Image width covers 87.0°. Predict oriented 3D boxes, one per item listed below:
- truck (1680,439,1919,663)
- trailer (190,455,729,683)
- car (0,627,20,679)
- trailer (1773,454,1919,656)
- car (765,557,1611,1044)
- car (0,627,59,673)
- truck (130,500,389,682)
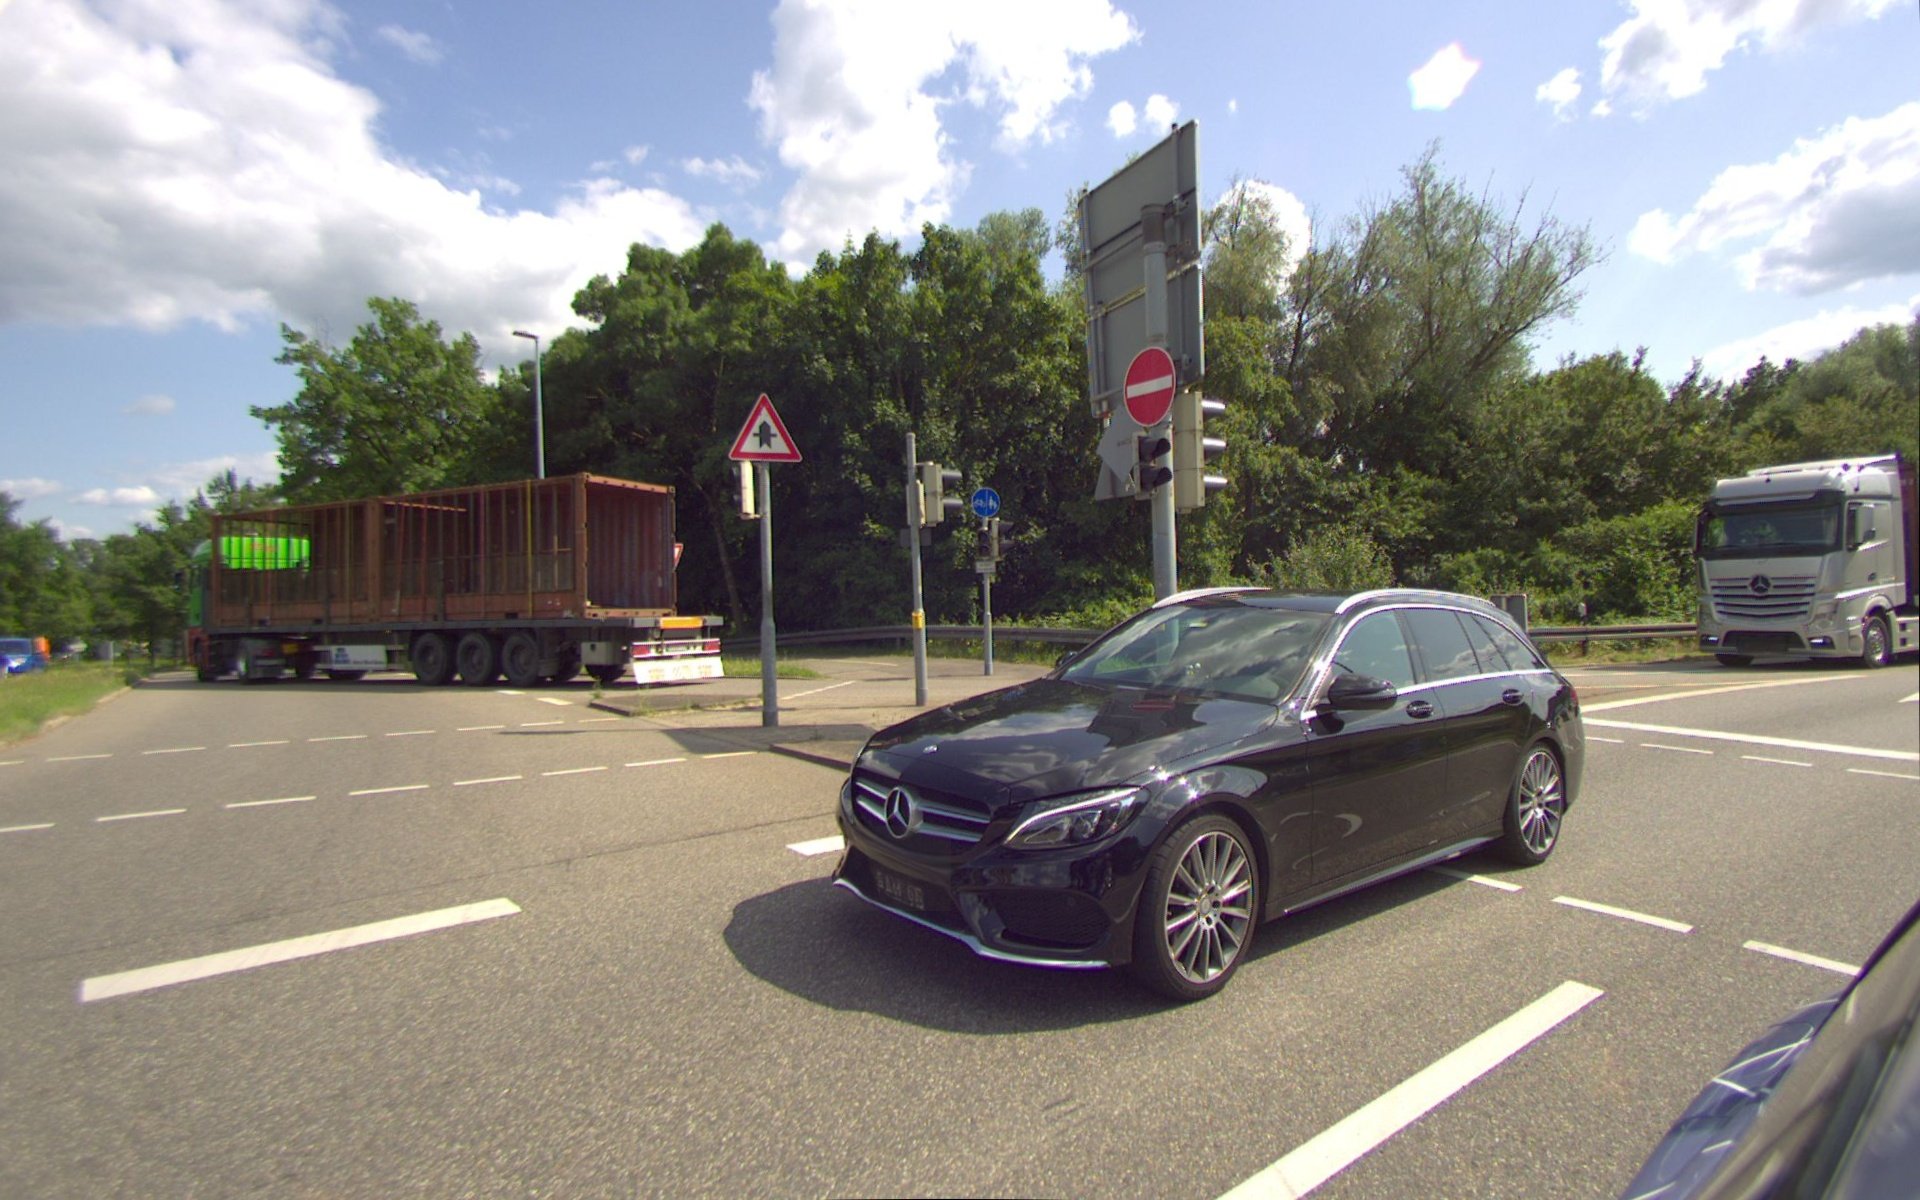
[{"bbox_3d":[17.872,-0.860,20.365,6.682,3.894,2.781,0,-1,-28],"label":"truck"},{"bbox_3d":[-11.231,-0.283,21.670,13.706,3.941,2.623,-2,-2,27],"label":"trailer"},{"bbox_3d":[-26.612,1.439,26.663,1.843,1.393,4.052,0,-1,-31],"label":"car"},{"bbox_3d":[23.422,-0.932,23.312,12.071,3.899,2.783,-1,0,-28],"label":"trailer"},{"bbox_3d":[1.384,0.563,5.051,4.289,1.453,1.795,-1,1,-37],"label":"car"},{"bbox_3d":[-30.485,1.567,32.294,1.843,1.393,4.052,0,-1,-31],"label":"car"},{"bbox_3d":[-17.037,-0.086,24.587,5.821,3.954,2.850,-3,-2,28],"label":"truck"}]
